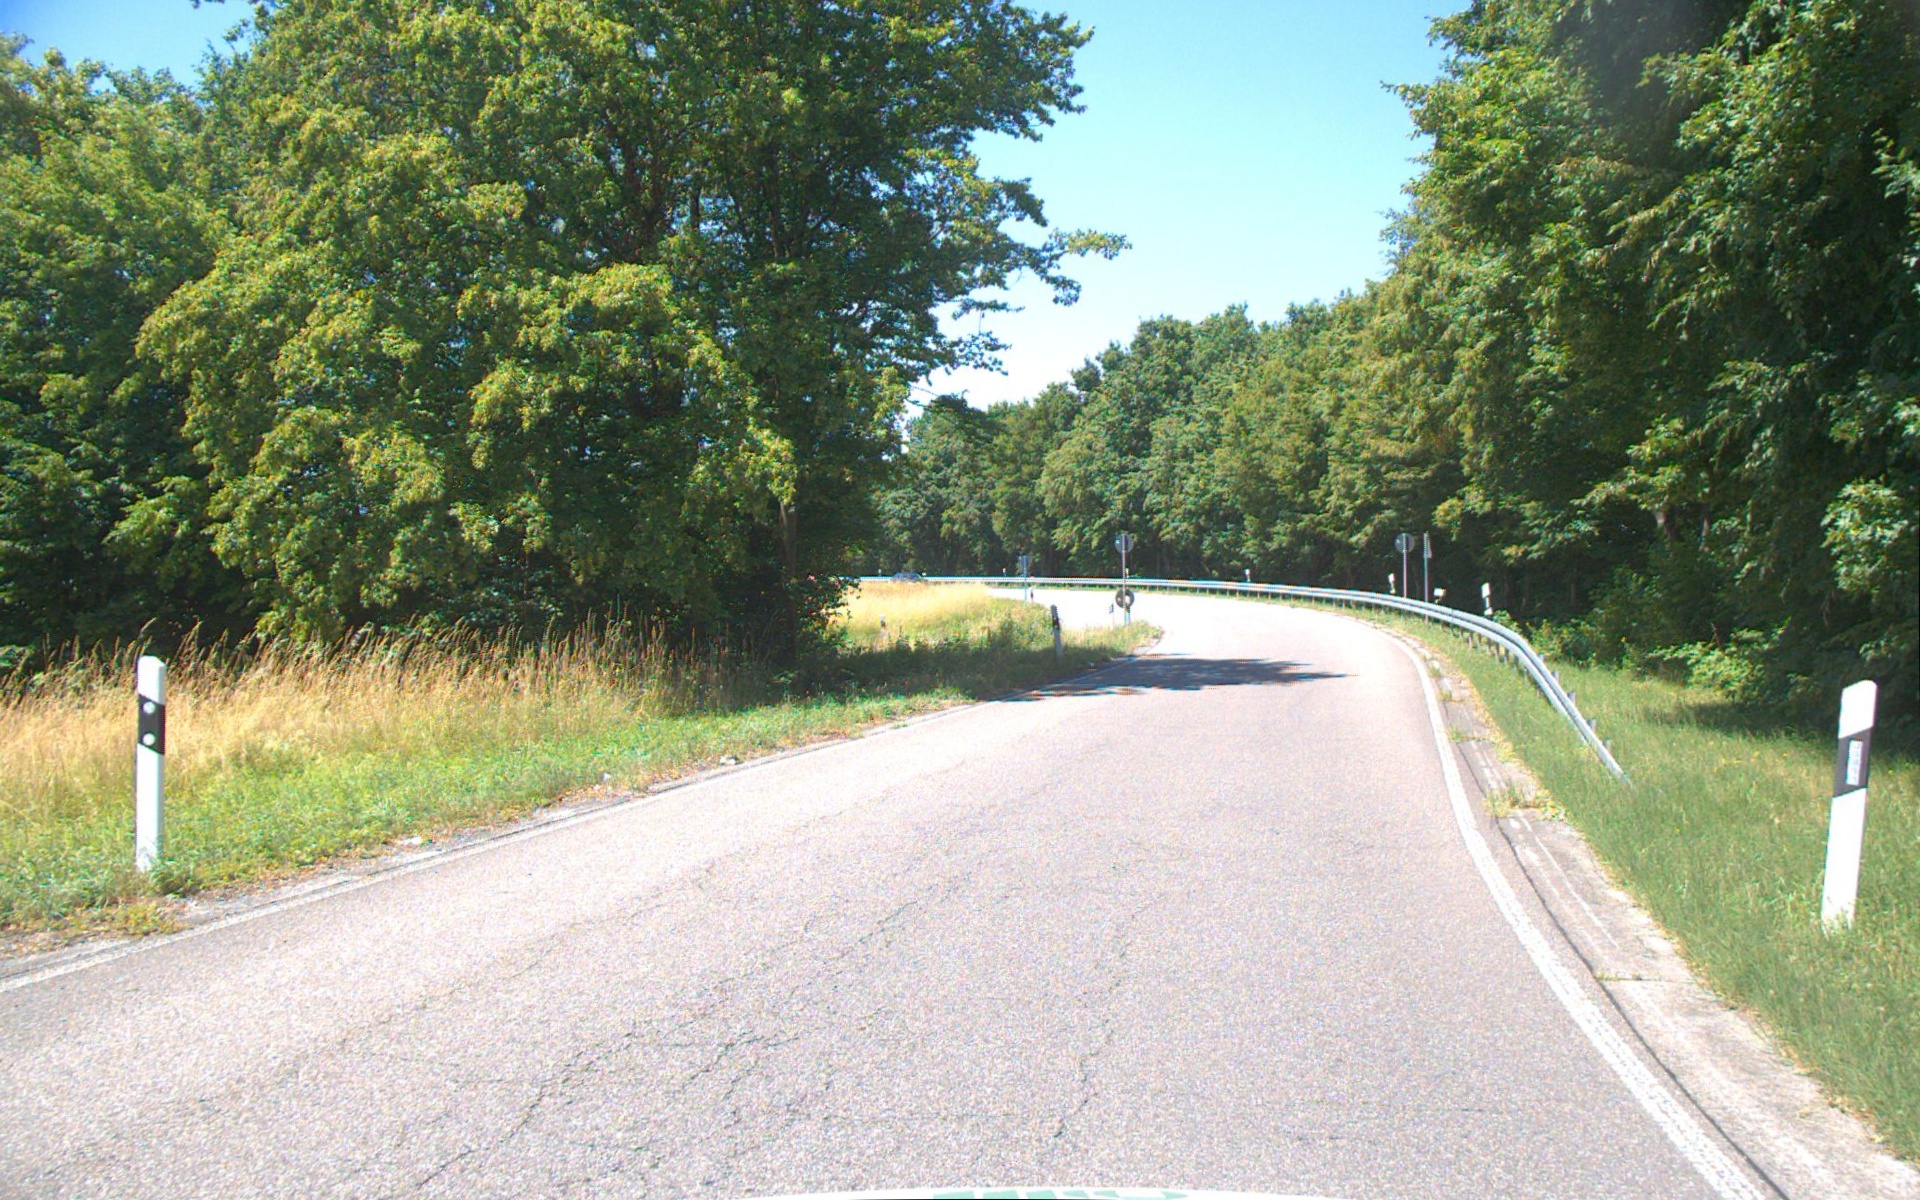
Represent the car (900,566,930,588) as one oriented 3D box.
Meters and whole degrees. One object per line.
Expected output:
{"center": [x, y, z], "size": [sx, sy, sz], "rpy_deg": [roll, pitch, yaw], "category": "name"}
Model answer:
{"center": [-3.385, -1.720, 124.408], "size": [1.768, 1.532, 4.651], "rpy_deg": [-4, 1, -7], "category": "car"}
